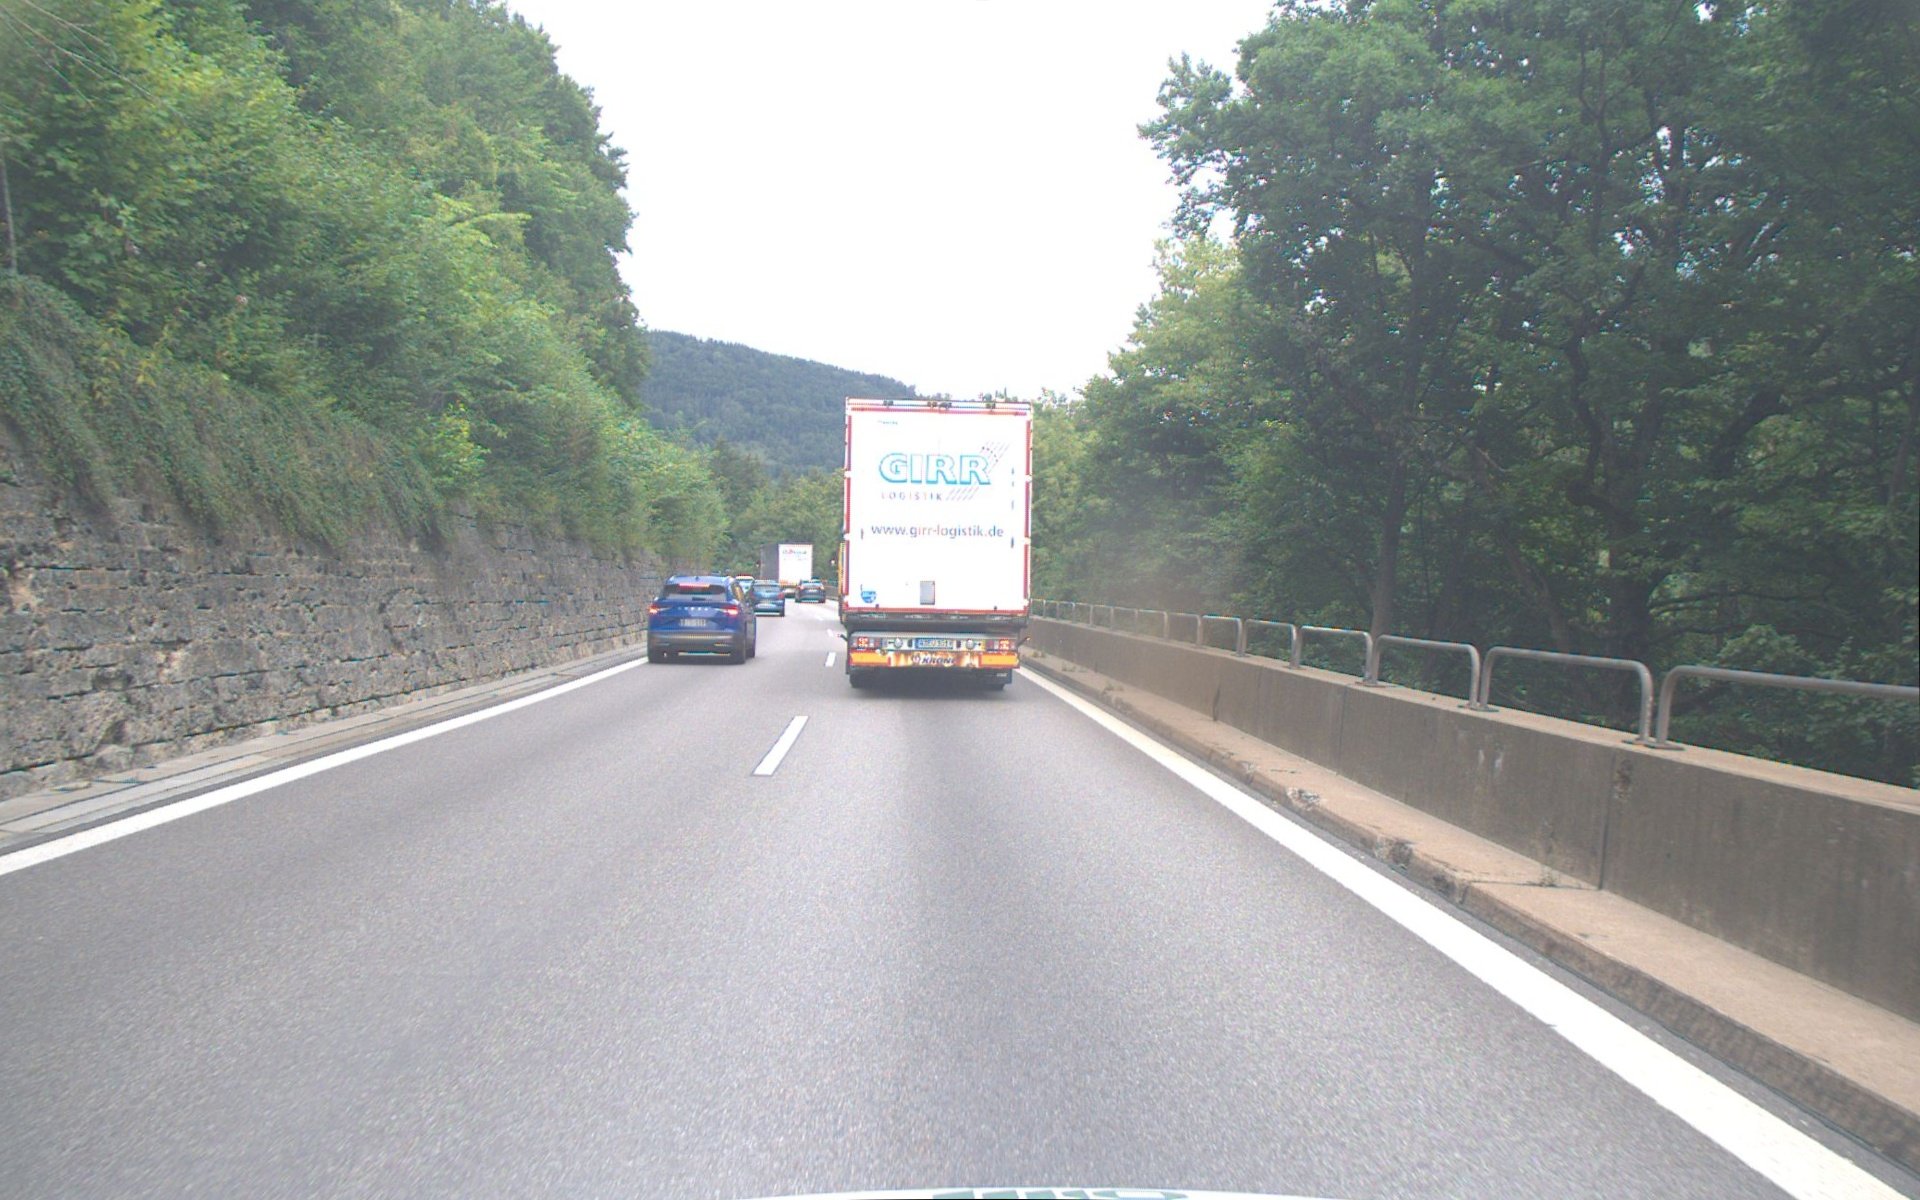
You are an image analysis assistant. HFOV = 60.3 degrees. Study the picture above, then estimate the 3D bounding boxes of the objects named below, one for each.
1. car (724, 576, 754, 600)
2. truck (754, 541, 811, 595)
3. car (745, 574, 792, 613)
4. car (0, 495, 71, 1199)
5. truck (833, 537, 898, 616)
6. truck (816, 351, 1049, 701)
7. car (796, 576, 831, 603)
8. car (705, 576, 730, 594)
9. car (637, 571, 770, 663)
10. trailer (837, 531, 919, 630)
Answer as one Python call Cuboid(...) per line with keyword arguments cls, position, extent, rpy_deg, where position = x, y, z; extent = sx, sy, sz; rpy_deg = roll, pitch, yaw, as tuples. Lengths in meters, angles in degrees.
Cuboid(cls="car", position=(-15.364, -0.821, 114.700), extent=(1.862, 1.577, 4.240), rpy_deg=(2, 1, -10))
Cuboid(cls="truck", position=(-13.699, -2.430, 126.822), extent=(2.590, 3.925, 12.313), rpy_deg=(0, 1, -14))
Cuboid(cls="car", position=(-8.386, -0.286, 72.442), extent=(1.955, 1.624, 4.347), rpy_deg=(1, 0, -7))
Cuboid(cls="car", position=(-3.135, 0.612, 1.580), extent=(1.953, 1.660, 5.007), rpy_deg=(0, 0, -1))
Cuboid(cls="truck", position=(-3.731, -0.900, 64.463), extent=(2.167, 2.901, 4.996), rpy_deg=(1, 0, -7))
Cuboid(cls="truck", position=(-0.658, -1.048, 29.090), extent=(3.022, 4.542, 15.149), rpy_deg=(0, 1, -2))
Cuboid(cls="car", position=(-9.393, -0.667, 105.602), extent=(2.022, 1.683, 3.992), rpy_deg=(0, 1, -9))
Cuboid(cls="car", position=(-22.738, -1.390, 154.858), extent=(1.865, 1.577, 4.233), rpy_deg=(2, 1, -15))
Cuboid(cls="car", position=(-4.930, 0.308, 32.392), extent=(1.953, 1.660, 5.006), rpy_deg=(0, 0, -2))
Cuboid(cls="trailer", position=(-3.047, -0.673, 58.445), extent=(2.169, 3.101, 11.124), rpy_deg=(1, 0, -6))
